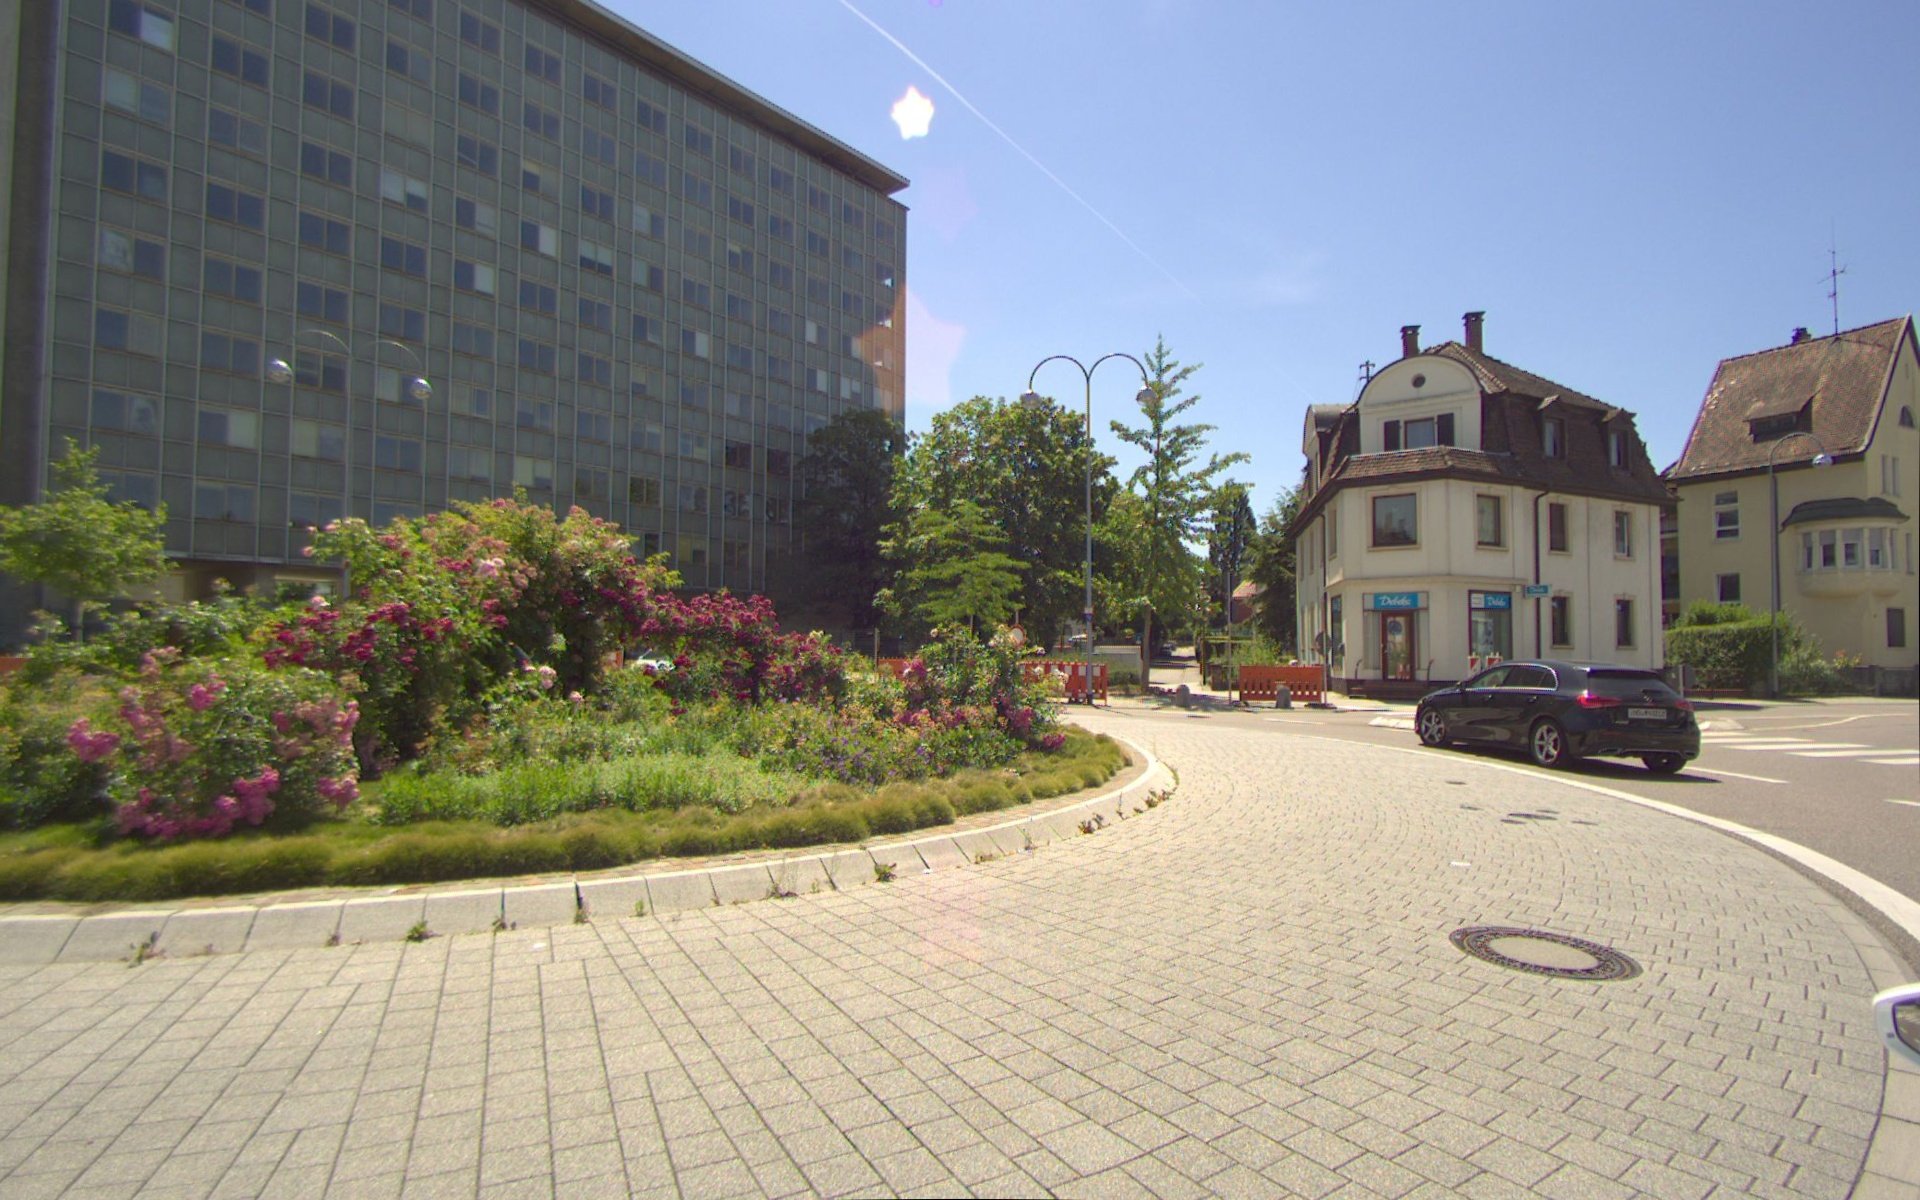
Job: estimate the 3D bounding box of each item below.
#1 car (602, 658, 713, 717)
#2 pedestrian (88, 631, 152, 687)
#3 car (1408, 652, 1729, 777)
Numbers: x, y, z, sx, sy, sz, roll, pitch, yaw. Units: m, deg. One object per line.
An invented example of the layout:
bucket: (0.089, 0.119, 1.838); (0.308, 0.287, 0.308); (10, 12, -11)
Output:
car: (-9.143, 2.684, 30.700); (1.754, 1.617, 3.925); (-2, -5, 8)
pedestrian: (-24.882, 1.757, 29.794); (1.268, 1.605, 0.941); (2, -3, -32)
car: (8.363, 1.511, 14.297); (1.923, 1.446, 3.998); (2, -3, -5)
